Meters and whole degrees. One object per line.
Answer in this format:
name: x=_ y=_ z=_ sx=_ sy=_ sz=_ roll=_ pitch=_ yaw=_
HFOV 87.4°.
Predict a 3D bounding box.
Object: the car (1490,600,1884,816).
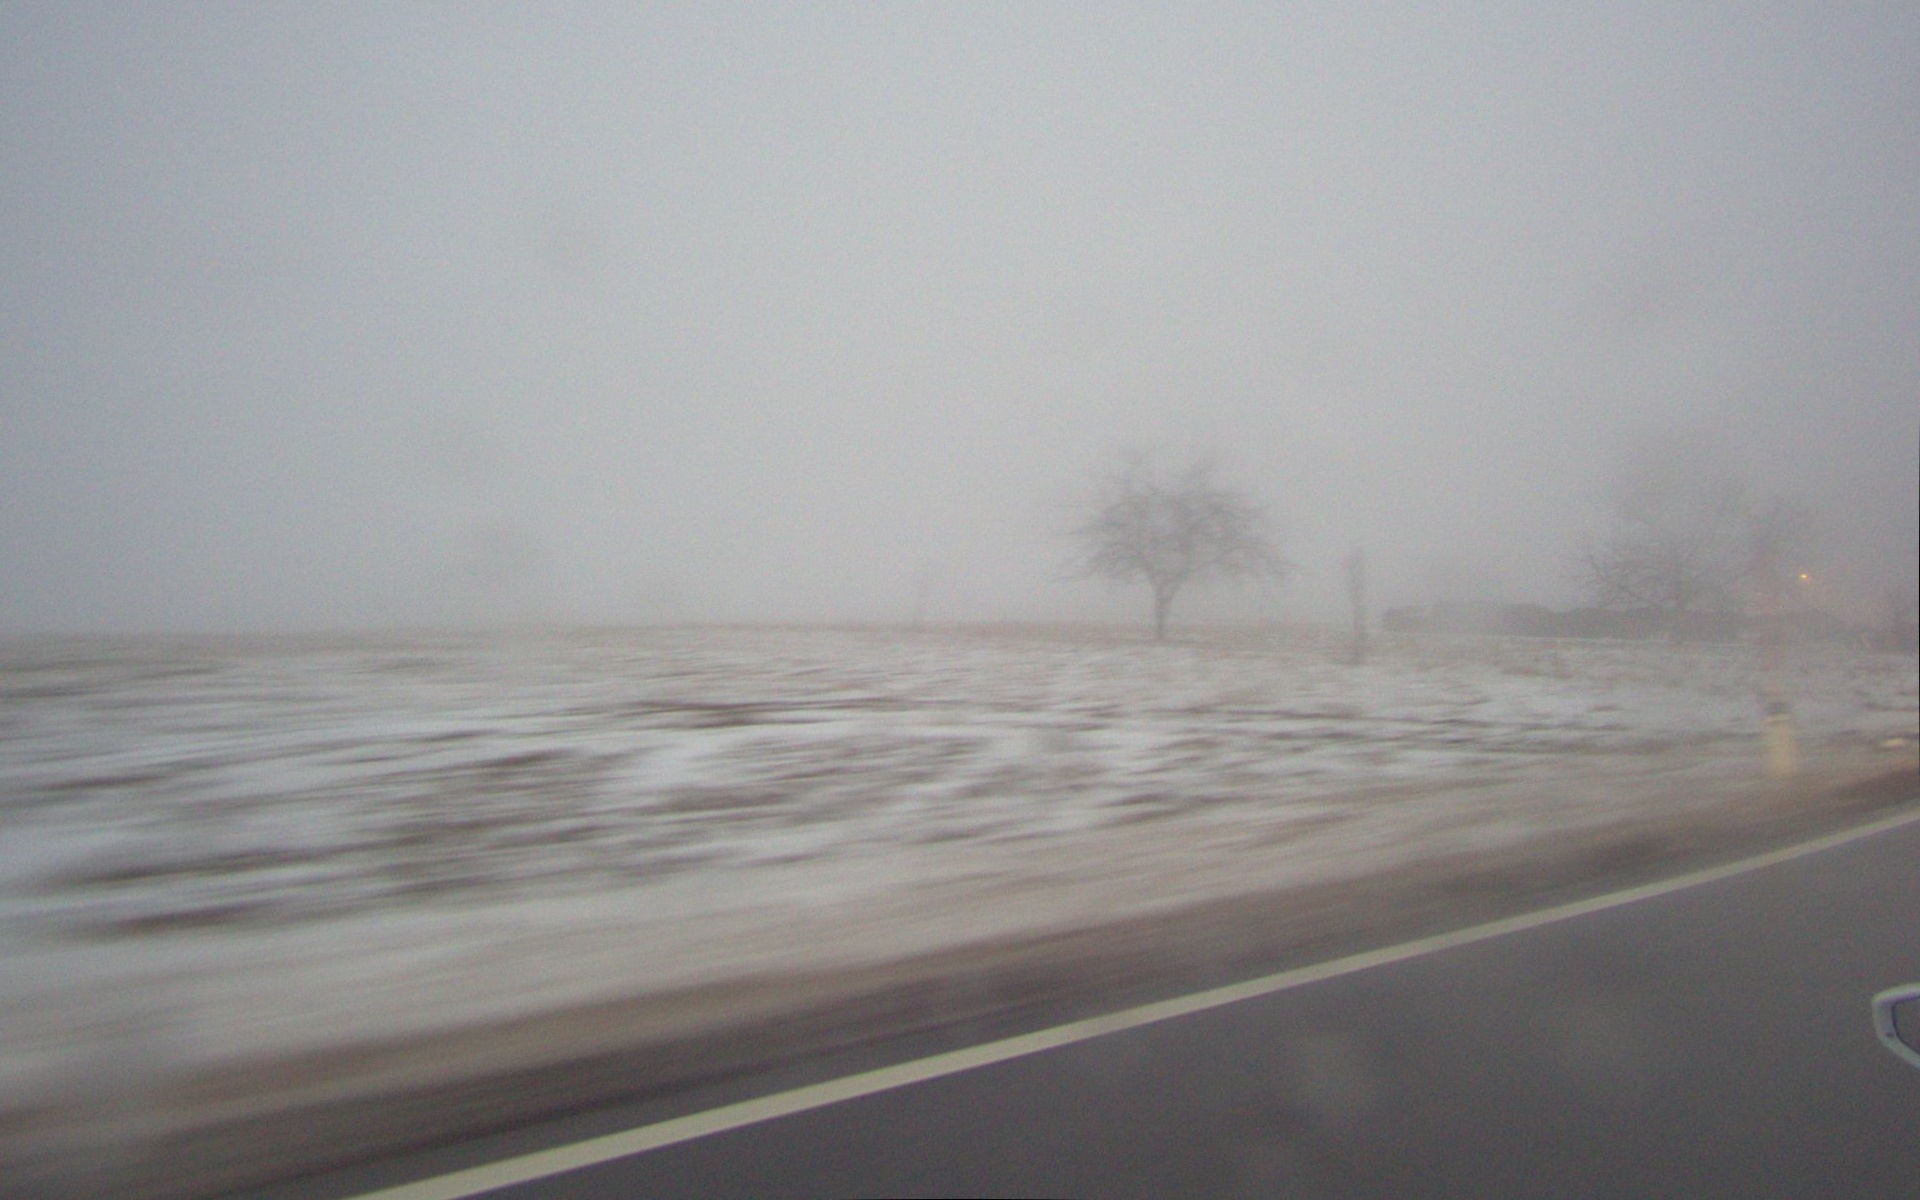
car: x=6.173 y=0.827 z=8.520 sx=3.014 sy=1.528 sz=1.517 roll=2 pitch=-1 yaw=-27
